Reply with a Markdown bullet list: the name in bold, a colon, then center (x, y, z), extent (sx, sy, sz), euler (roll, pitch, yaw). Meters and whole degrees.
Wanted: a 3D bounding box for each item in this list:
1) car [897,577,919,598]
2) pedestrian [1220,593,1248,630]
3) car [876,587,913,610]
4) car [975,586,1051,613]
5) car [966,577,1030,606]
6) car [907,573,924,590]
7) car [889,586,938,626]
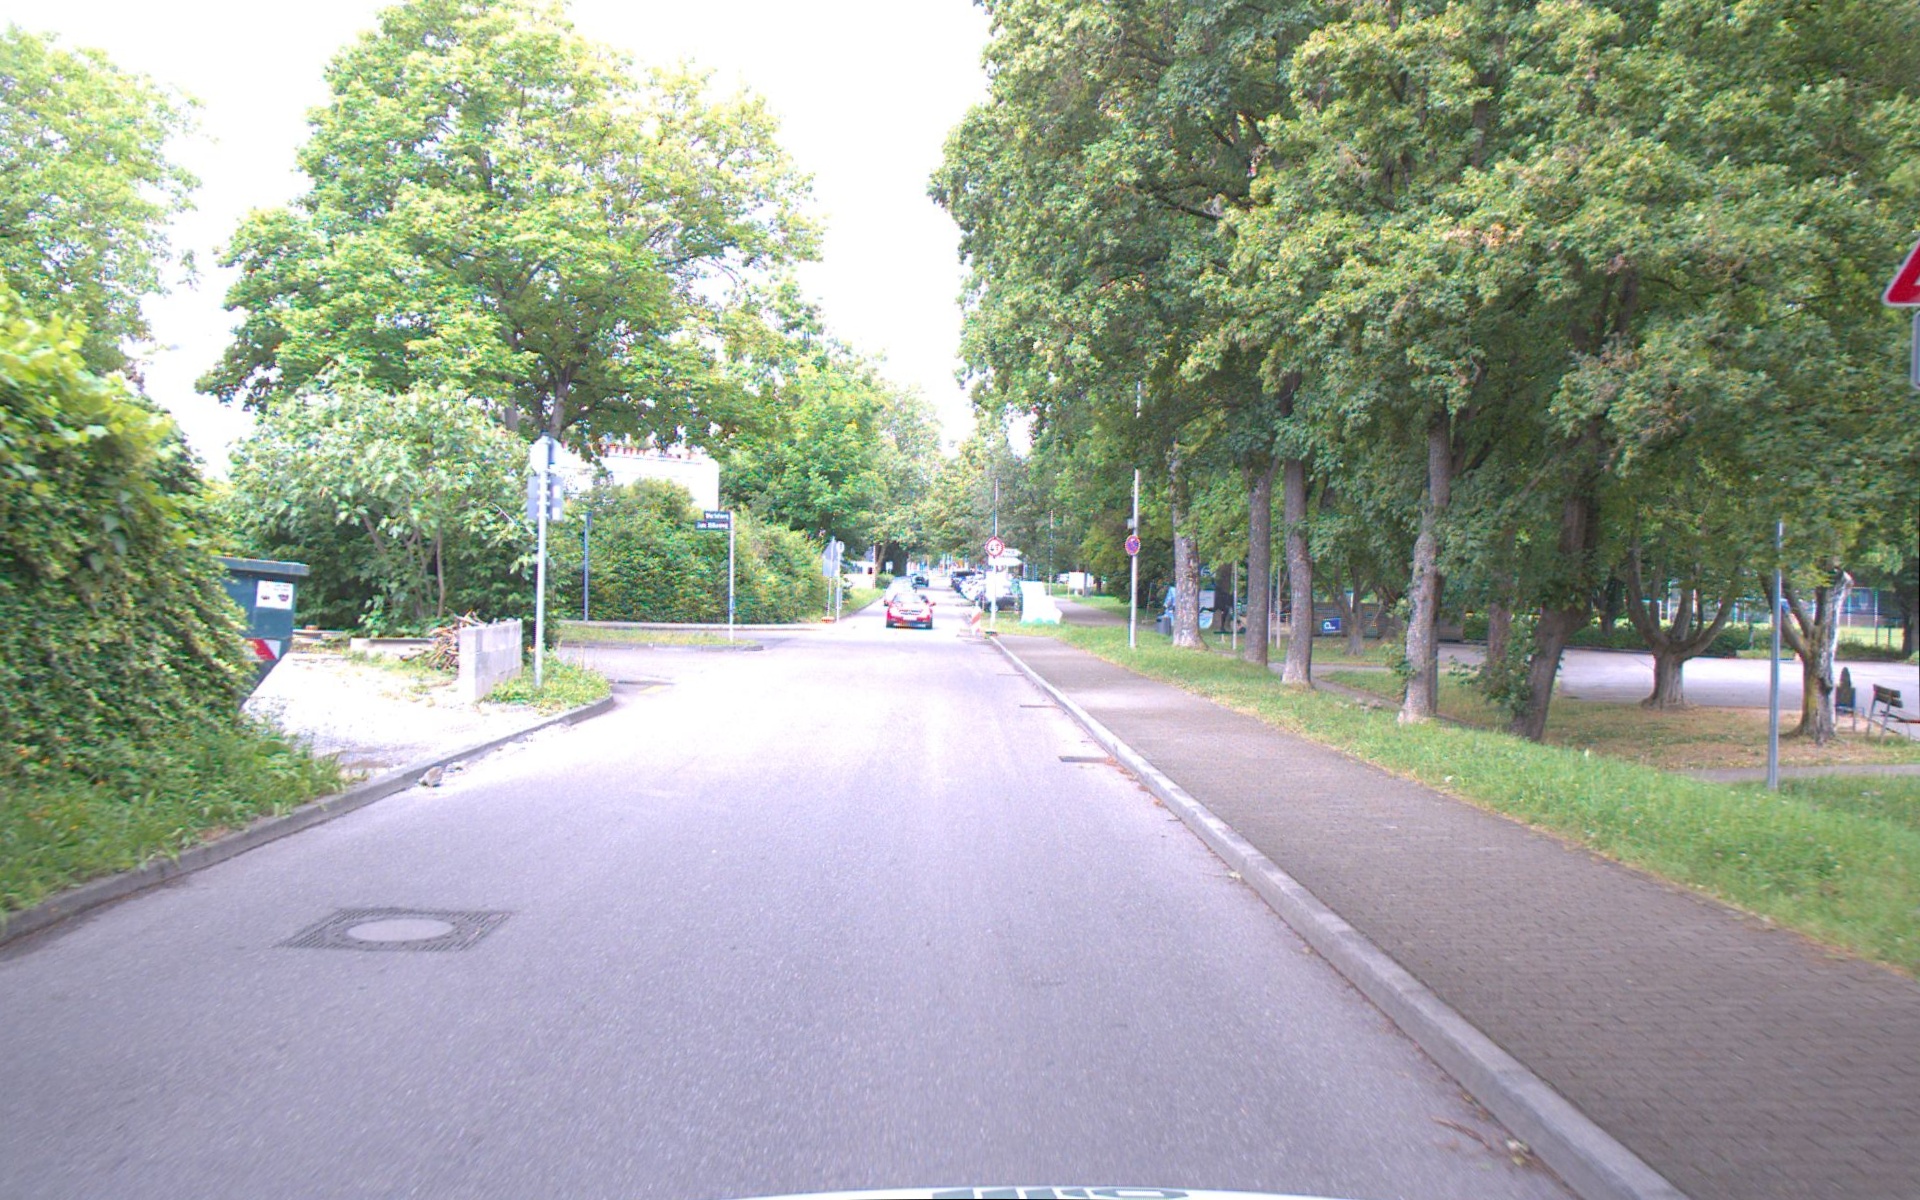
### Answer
- **car**: center (-4.331, -1.066, 138.209), extent (1.766, 1.619, 4.295), euler (2, 1, -1)
- **pedestrian**: center (12.638, 0.547, 76.361), extent (1.125, 1.704, 0.793), euler (0, -1, 24)
- **car**: center (-3.921, -0.117, 100.239), extent (1.744, 1.329, 4.298), euler (2, 1, 4)
- **car**: center (2.829, -0.019, 89.264), extent (3.981, 1.459, 1.999), euler (0, -1, -2)
- **car**: center (2.437, -0.534, 106.966), extent (3.983, 1.717, 1.821), euler (-2, 1, -5)
- **car**: center (-5.104, -2.114, 189.141), extent (1.929, 1.778, 4.337), euler (2, 1, -2)
- **car**: center (-1.741, 0.214, 61.550), extent (1.715, 1.359, 4.064), euler (2, 1, -2)
